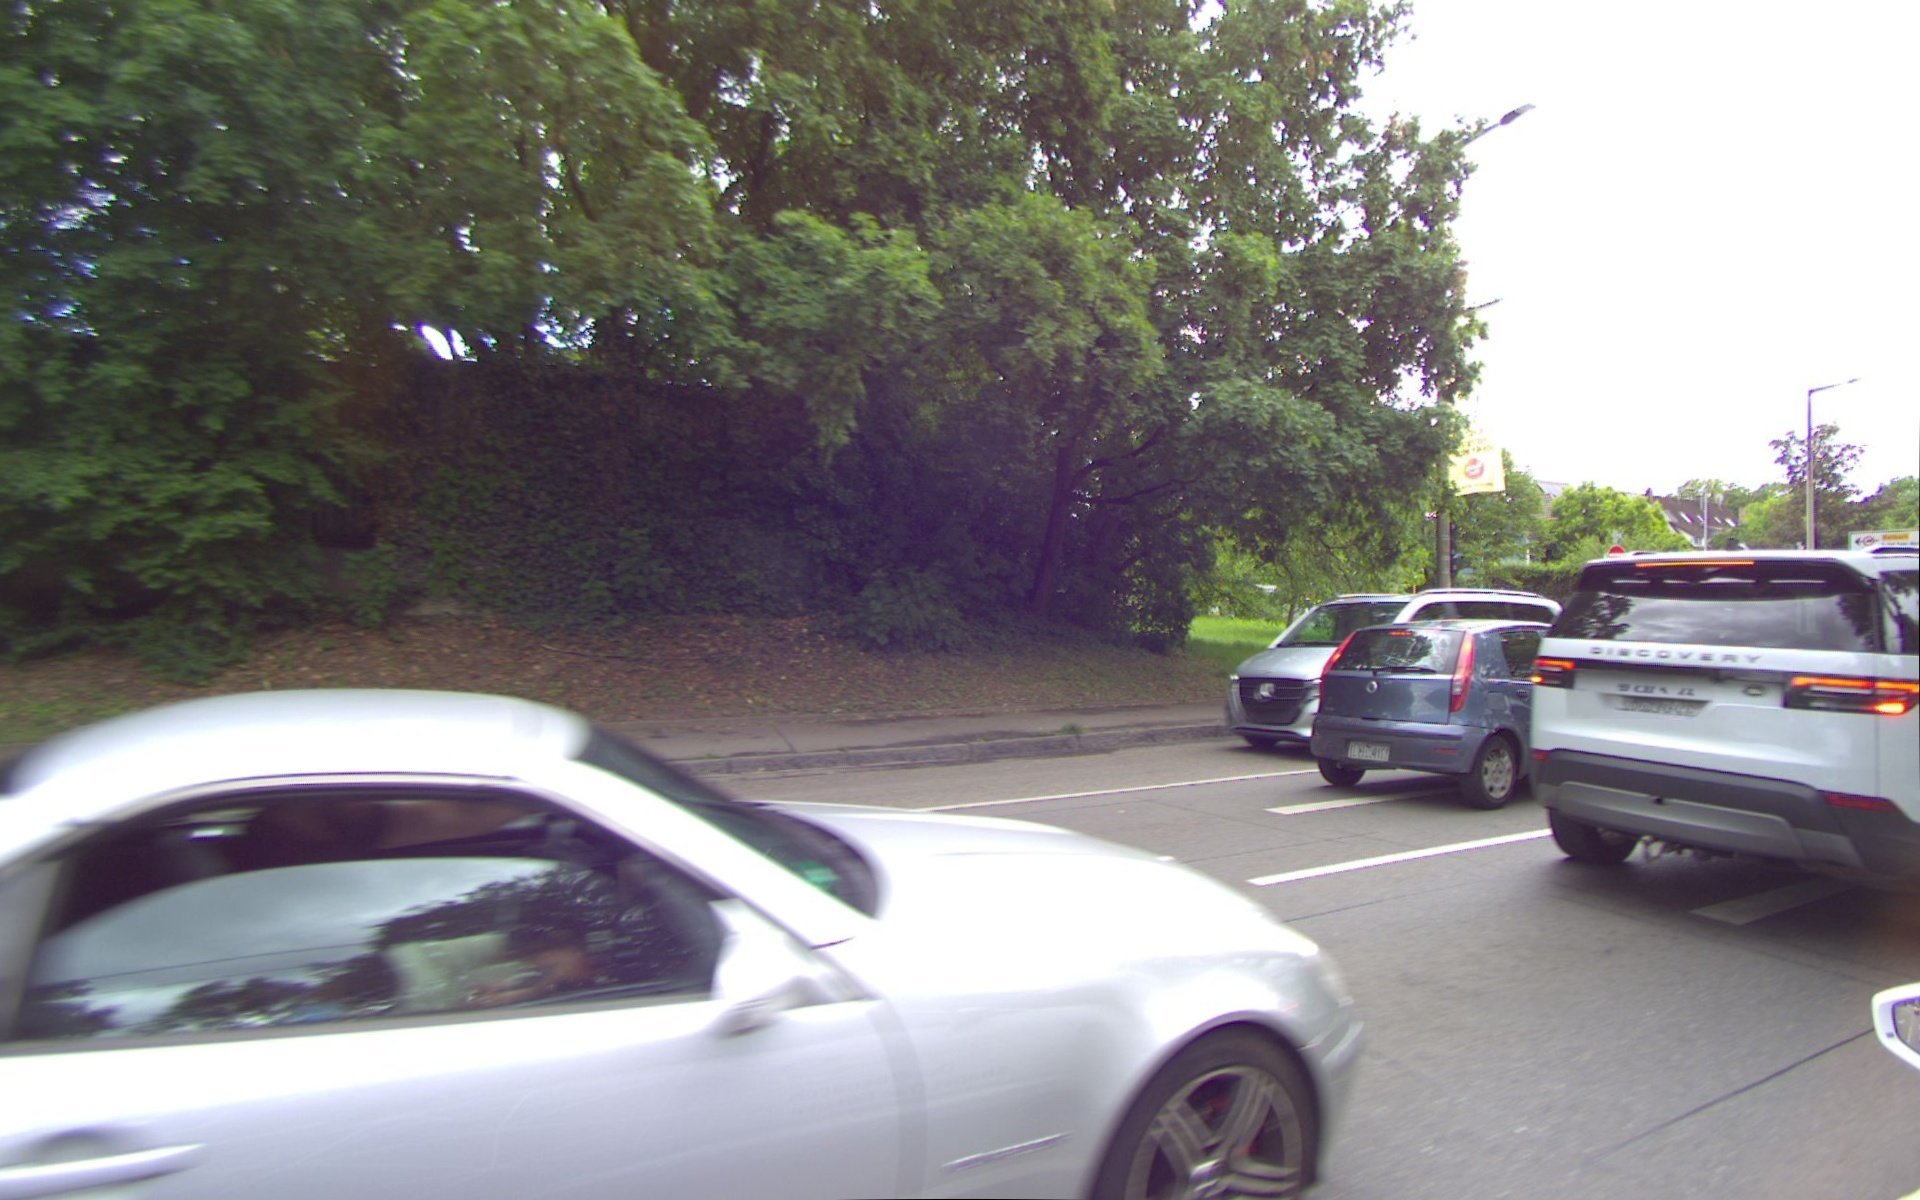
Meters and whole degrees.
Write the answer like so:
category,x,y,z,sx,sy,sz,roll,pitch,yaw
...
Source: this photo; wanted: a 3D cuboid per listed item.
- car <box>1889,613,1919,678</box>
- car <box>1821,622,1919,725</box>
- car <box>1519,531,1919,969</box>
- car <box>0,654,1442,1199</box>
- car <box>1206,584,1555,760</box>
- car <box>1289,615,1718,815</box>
category,x,y,z,sx,sy,sz,roll,pitch,yaw
car,25.182,1.167,25.177,3.865,1.559,1.730,1,1,-31
car,15.368,1.104,15.858,3.763,1.486,1.549,1,-2,-30
car,5.533,0.659,5.984,4.450,1.819,1.795,2,1,-30
car,-0.772,0.815,2.237,3.780,1.284,1.546,2,0,-32
car,5.283,0.810,12.479,4.359,1.855,1.782,1,-2,-31
car,4.988,0.908,9.127,3.880,1.487,1.585,1,-2,-29
